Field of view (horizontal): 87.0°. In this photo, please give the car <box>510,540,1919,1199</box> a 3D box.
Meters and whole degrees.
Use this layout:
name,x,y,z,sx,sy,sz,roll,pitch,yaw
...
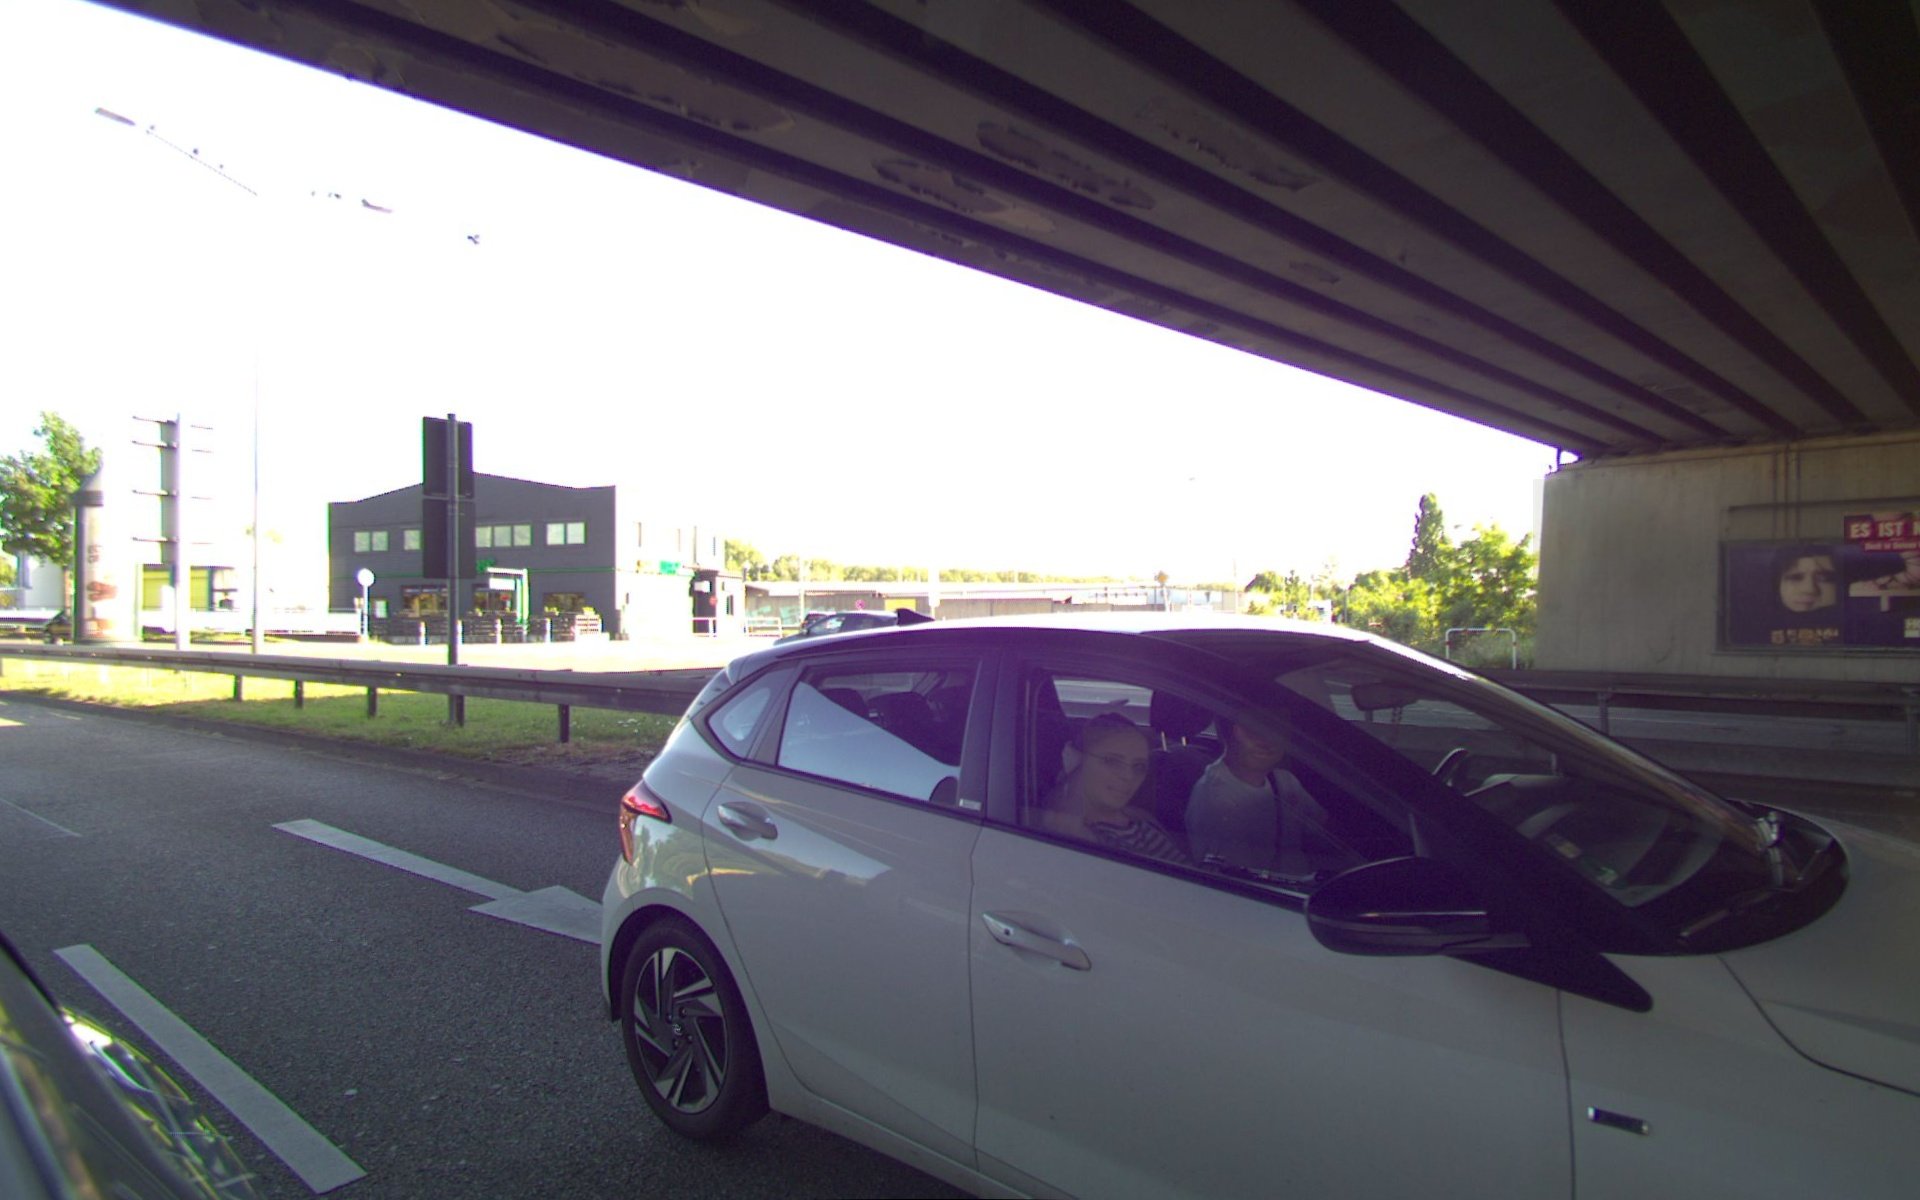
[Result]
name,x,y,z,sx,sy,sz,roll,pitch,yaw
car,0.796,0.679,2.415,3.984,1.491,1.717,0,0,37

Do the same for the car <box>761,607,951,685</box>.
name,x,y,z,sx,sy,sz,roll,pitch,yaw
car,-2.227,0.947,21.390,3.811,1.531,1.607,-1,-2,31

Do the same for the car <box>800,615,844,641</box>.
name,x,y,z,sx,sy,sz,roll,pitch,yaw
car,-7.527,1.543,55.501,1.805,1.291,4.180,1,-3,1

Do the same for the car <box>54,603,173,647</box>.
name,x,y,z,sx,sy,sz,roll,pitch,yaw
car,-32.610,0.974,38.989,4.155,1.600,1.817,-1,-2,23
